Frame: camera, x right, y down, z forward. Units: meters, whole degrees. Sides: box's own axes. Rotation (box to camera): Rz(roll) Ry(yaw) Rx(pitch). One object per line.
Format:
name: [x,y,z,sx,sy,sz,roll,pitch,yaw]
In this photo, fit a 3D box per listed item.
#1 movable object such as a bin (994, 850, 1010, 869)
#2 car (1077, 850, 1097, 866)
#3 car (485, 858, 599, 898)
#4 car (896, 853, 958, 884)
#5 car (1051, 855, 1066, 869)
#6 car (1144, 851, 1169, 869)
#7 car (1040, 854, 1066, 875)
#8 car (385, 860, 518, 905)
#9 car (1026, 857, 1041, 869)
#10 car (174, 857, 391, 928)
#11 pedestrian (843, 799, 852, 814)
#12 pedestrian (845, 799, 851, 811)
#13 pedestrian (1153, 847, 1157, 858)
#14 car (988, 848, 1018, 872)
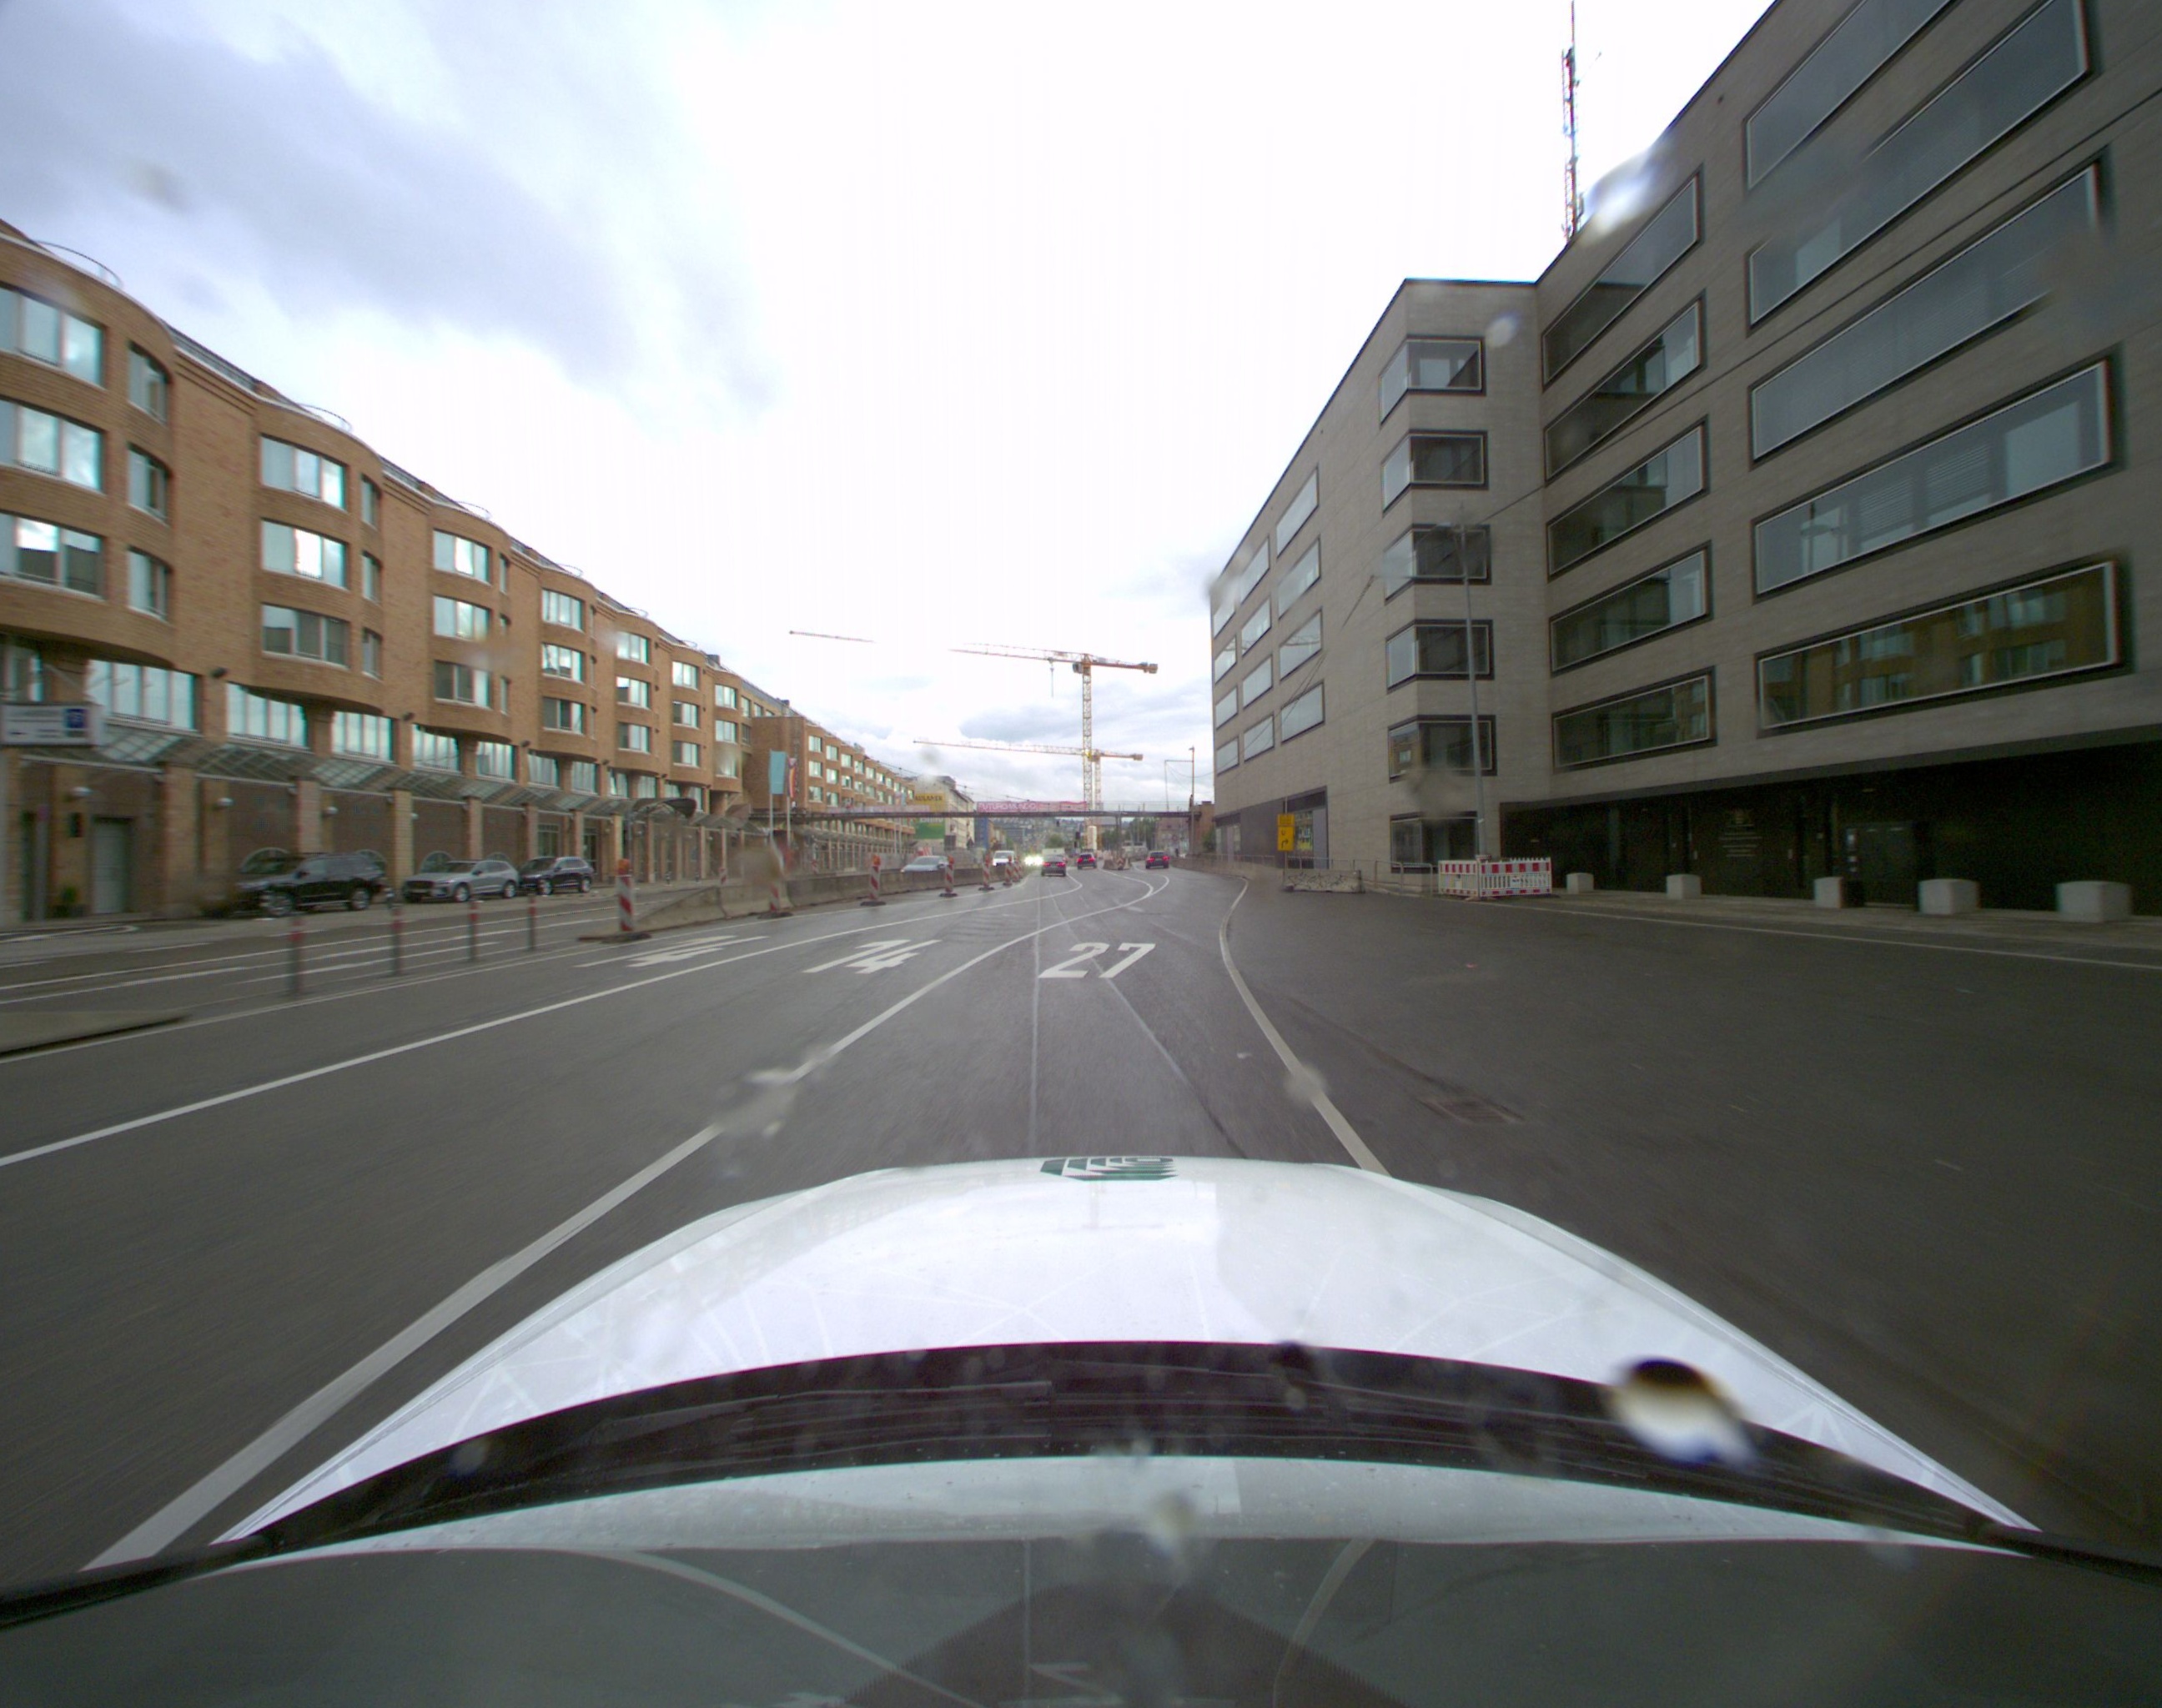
movable object such as a bin: [-10.795,0.745,111.511,2.023,2.277,4.285,-5,0,-5]
car: [0.658,0.423,85.352,1.855,1.660,4.659,-1,0,2]
car: [-25.073,1.051,38.136,1.987,1.690,5.048,-1,0,-1]
car: [-7.833,0.709,41.761,1.984,1.459,4.235,-1,0,6]
car: [-3.094,1.086,112.332,1.859,1.765,4.651,-1,0,-3]
car: [6.325,0.461,68.746,1.855,1.433,4.659,-1,0,2]
car: [-2.046,0.713,59.517,1.858,1.443,4.652,-1,0,-2]
car: [-24.826,1.060,32.359,1.990,1.594,4.533,-1,0,-5]
car: [-6.804,1.266,116.423,1.988,1.623,4.700,-2,1,-1]
car: [-24.303,1.079,25.145,1.990,1.886,5.006,-1,0,-5]
pedestrian: [-23.601,-4.780,82.369,0.618,1.452,0.618,-2,0,1]
pedestrian: [-23.555,-4.940,82.369,0.473,1.194,0.484,-2,0,1]
pedestrian: [13.780,-0.323,152.346,0.622,2.013,0.665,-1,0,10]
car: [-6.587,0.491,69.470,1.986,1.885,4.871,-1,0,1]
